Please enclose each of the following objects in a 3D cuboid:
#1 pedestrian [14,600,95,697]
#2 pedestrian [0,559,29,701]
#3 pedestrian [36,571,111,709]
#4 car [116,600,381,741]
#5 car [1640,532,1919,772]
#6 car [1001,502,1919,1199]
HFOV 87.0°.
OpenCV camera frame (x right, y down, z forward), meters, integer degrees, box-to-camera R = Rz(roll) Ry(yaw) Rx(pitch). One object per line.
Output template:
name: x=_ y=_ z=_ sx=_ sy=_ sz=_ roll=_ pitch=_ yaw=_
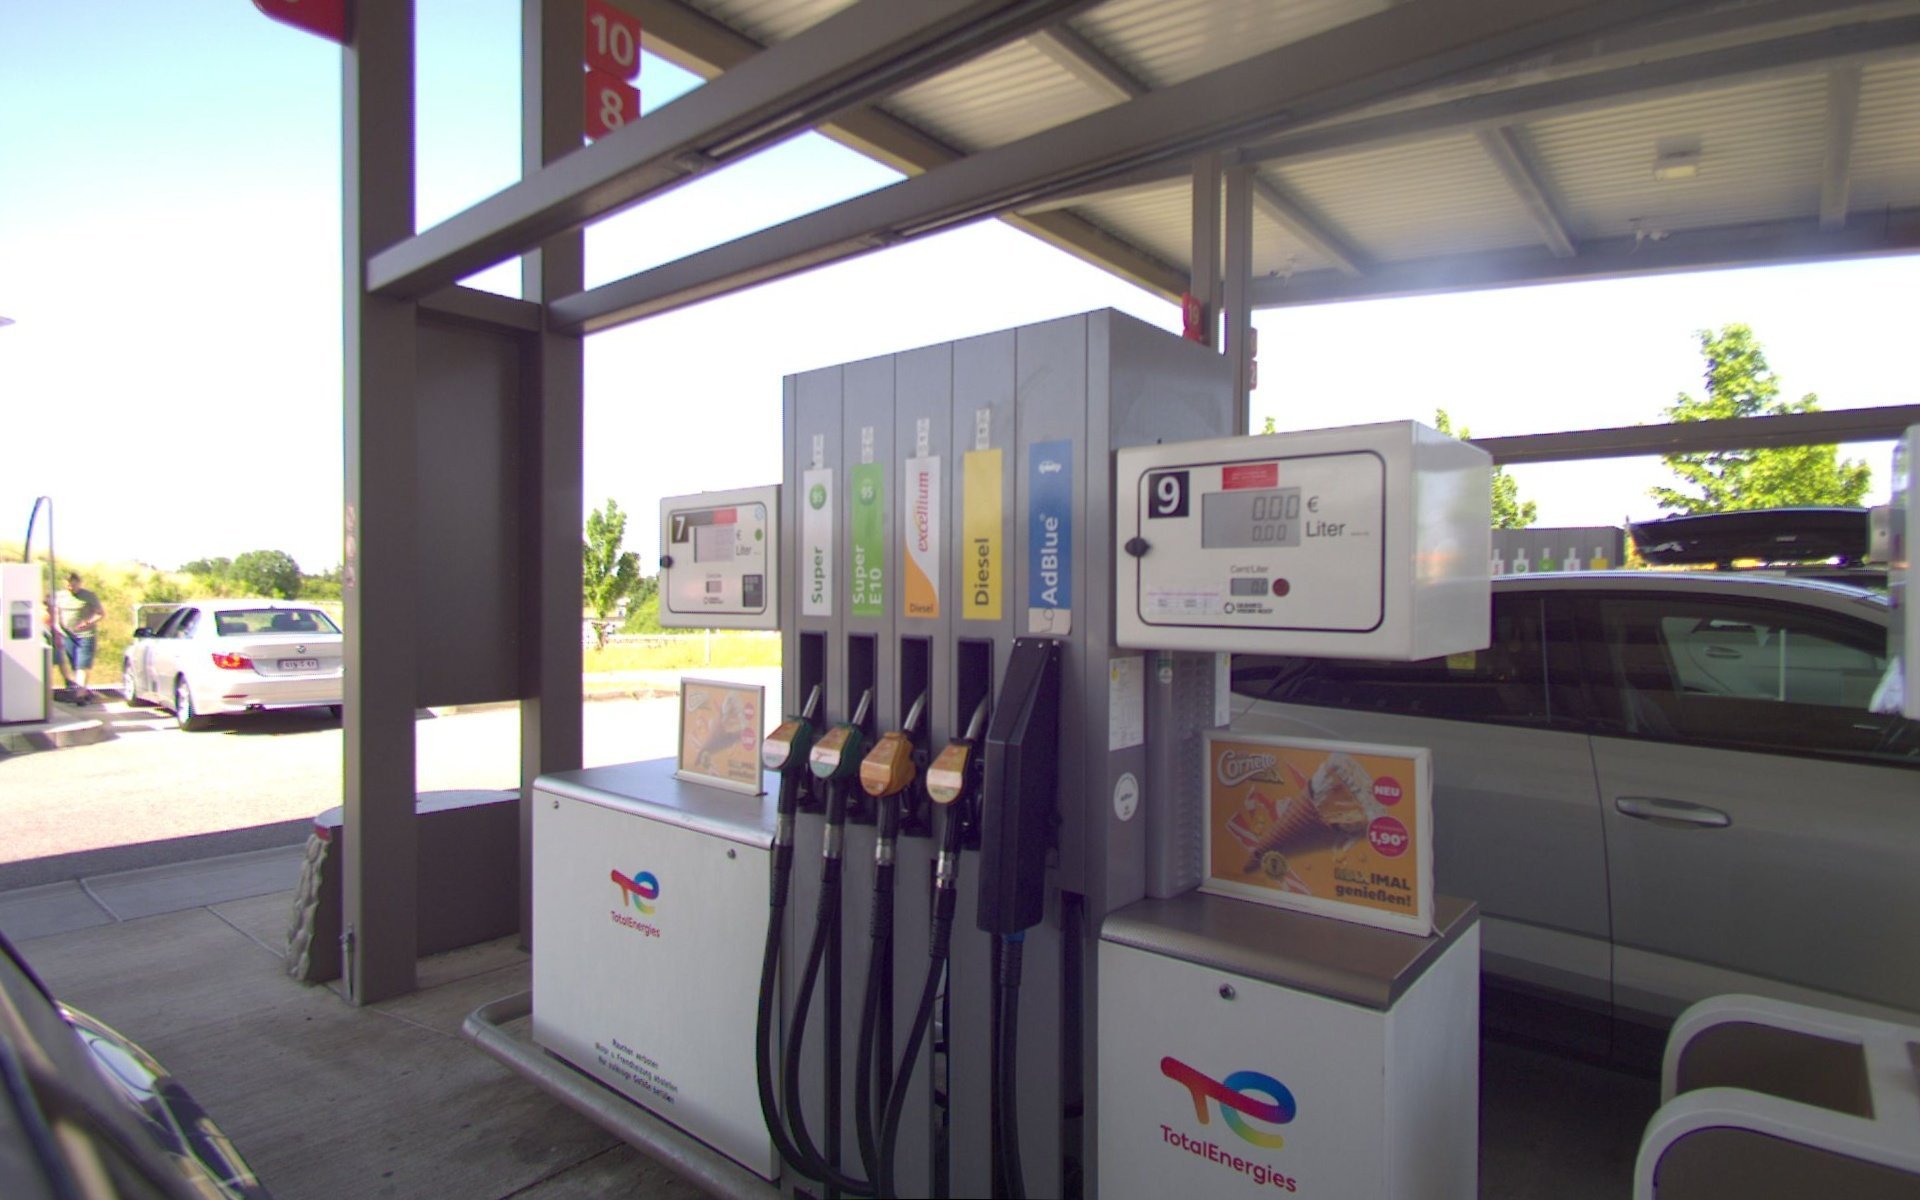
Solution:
pedestrian: x=-12.592 y=0.656 z=14.088 sx=0.568 sy=1.316 sz=0.670 roll=0 pitch=-1 yaw=-10
pedestrian: x=-12.514 y=0.378 z=12.790 sx=0.832 sy=1.783 sz=0.710 roll=0 pitch=-1 yaw=-3
pedestrian: x=-11.842 y=0.520 z=13.517 sx=0.845 sy=1.762 sz=0.699 roll=-1 pitch=-1 yaw=45
car: x=-9.052 y=0.740 z=12.734 sx=4.320 sy=1.439 sz=1.769 roll=1 pitch=0 yaw=41
car: x=7.850 y=0.363 z=7.565 sx=4.527 sy=1.700 sz=1.843 roll=-1 pitch=-1 yaw=36
car: x=2.353 y=0.574 z=2.978 sx=4.323 sy=1.553 sz=1.762 roll=-1 pitch=-1 yaw=41
